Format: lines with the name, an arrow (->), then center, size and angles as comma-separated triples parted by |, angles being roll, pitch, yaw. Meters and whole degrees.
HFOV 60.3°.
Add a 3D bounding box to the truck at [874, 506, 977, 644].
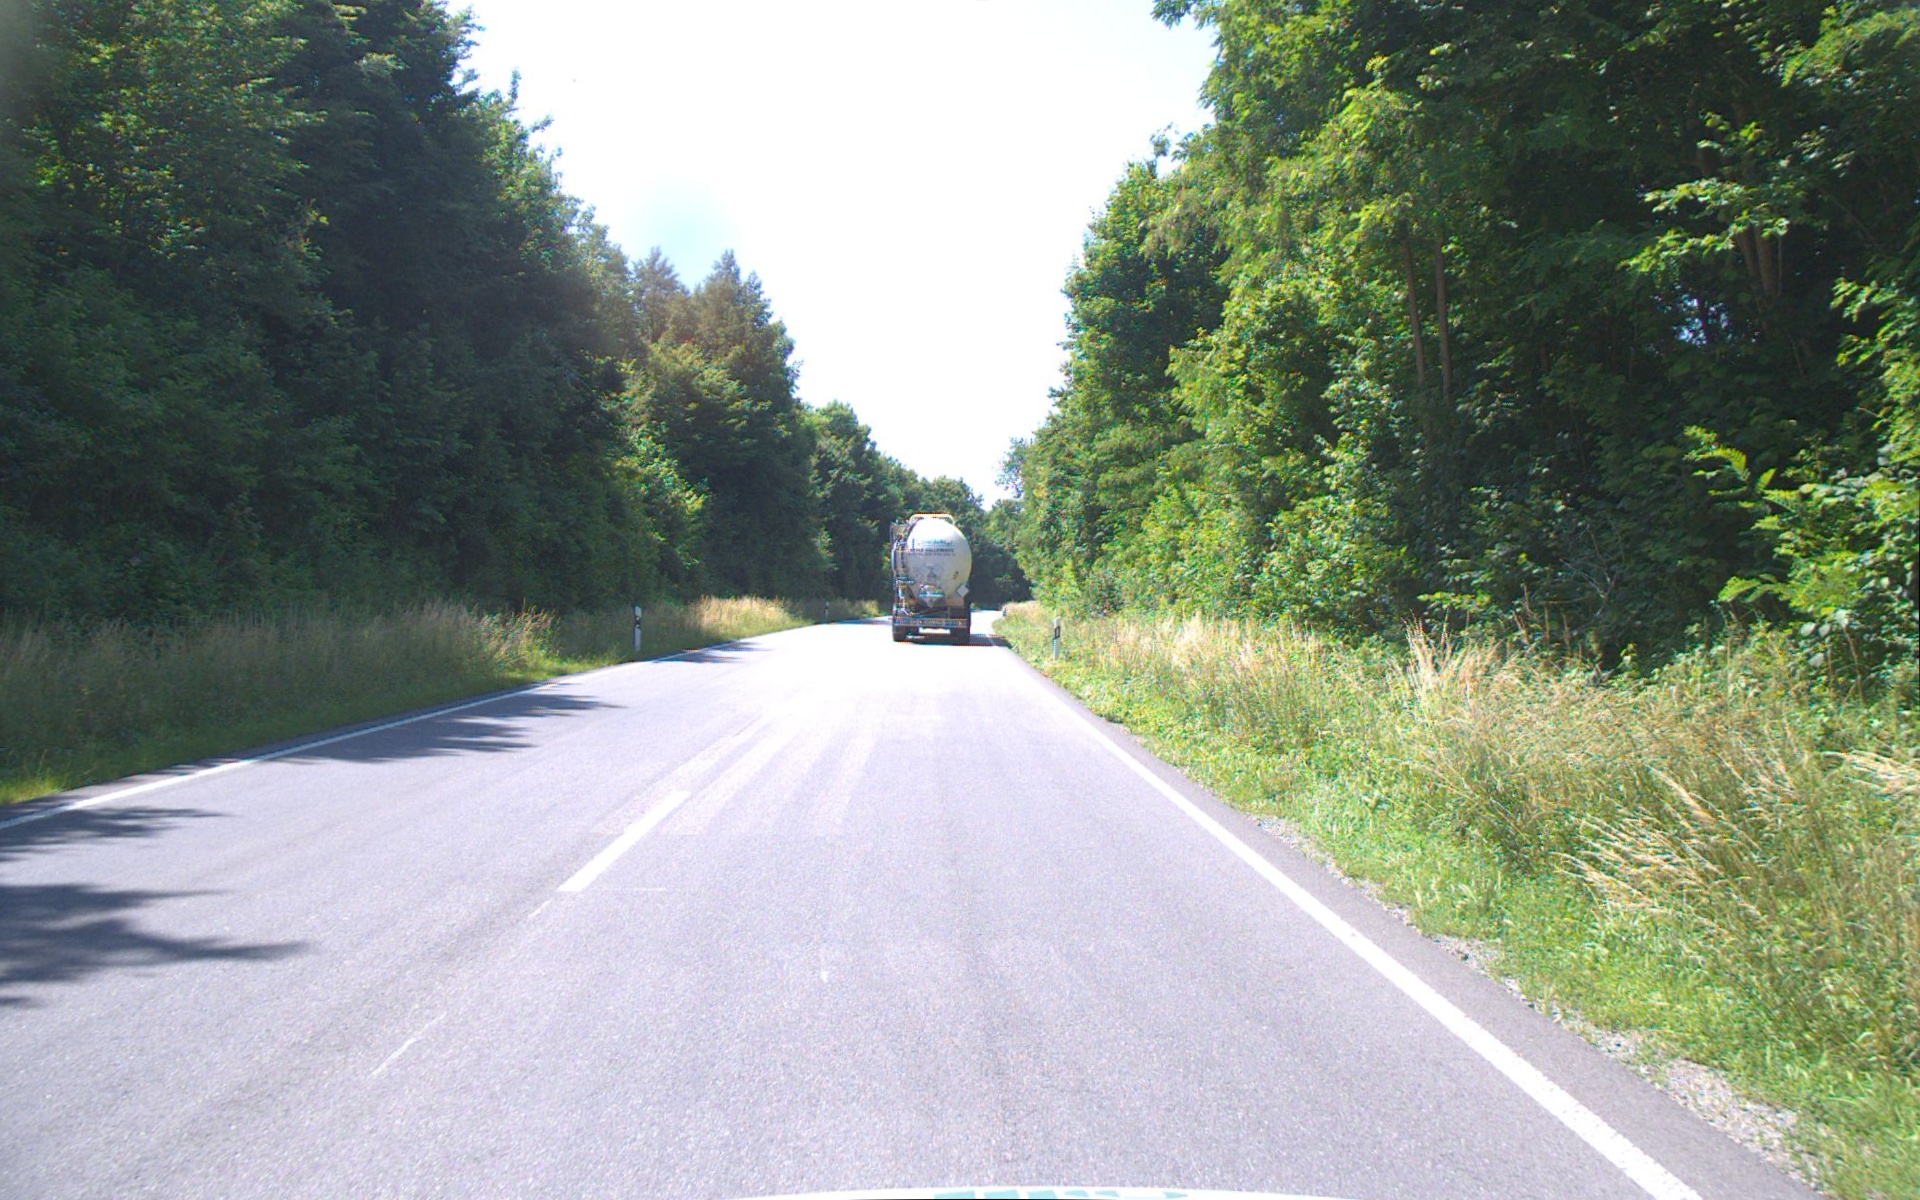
truck -> -1.262, -0.765, 57.720 | 2.988, 4.068, 15.631 | 2, 0, -2
